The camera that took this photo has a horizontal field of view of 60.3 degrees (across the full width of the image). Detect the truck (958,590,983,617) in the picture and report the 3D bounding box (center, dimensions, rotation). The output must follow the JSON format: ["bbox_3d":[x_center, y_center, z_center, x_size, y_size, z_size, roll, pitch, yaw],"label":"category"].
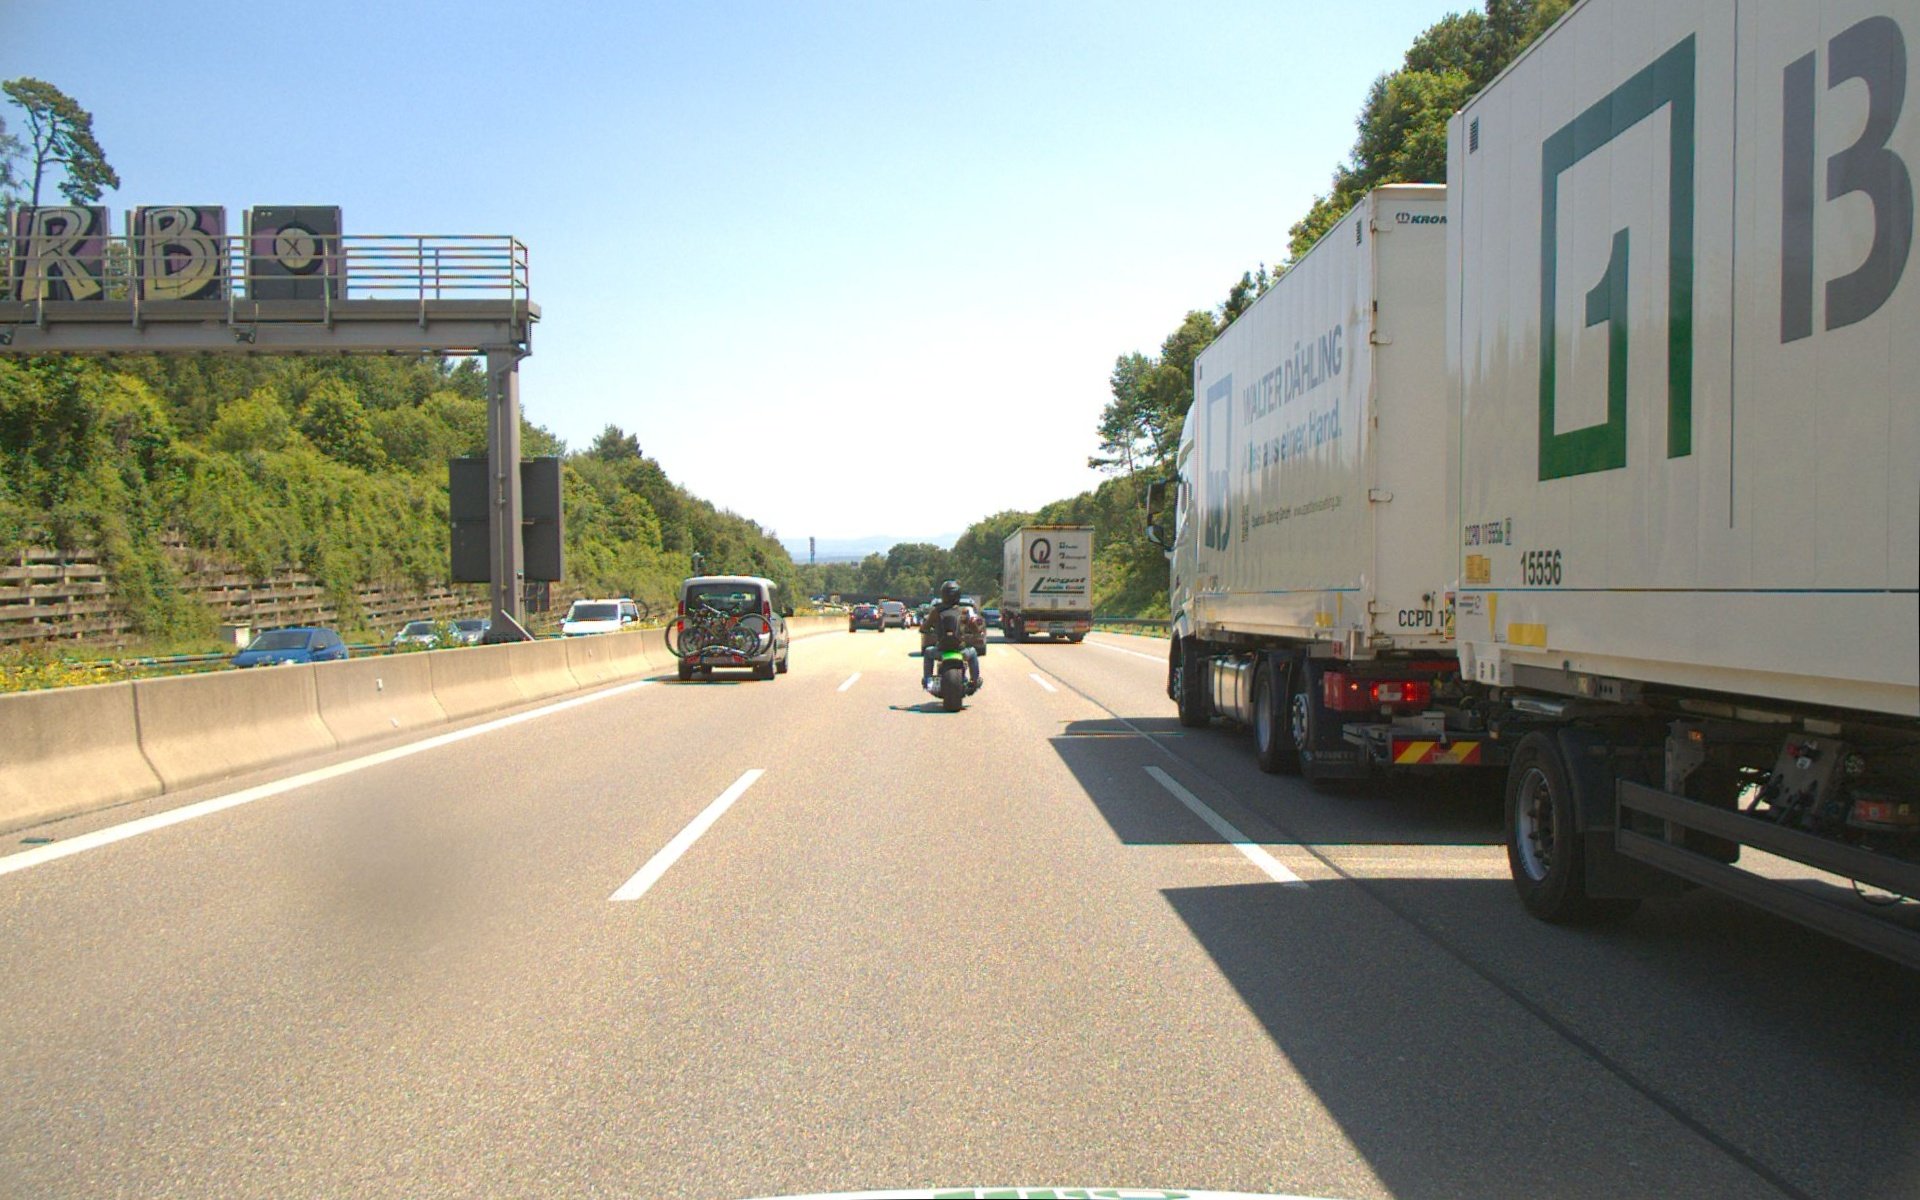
[{"bbox_3d":[1.400,0.407,219.758,3.005,3.405,9.650,1,0,-1],"label":"truck"}]

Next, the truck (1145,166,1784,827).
[{"bbox_3d":[3.774,-0.654,15.705,2.625,4.130,10.623,0,0,-1],"label":"truck"}]

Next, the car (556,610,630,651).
[{"bbox_3d":[-15.301,1.231,69.183,1.921,1.521,5.885,-2,0,-2],"label":"car"}]

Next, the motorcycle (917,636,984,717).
[{"bbox_3d":[-0.112,0.989,21.939,0.844,0.999,2.130,0,-1,0],"label":"motorcycle"}]

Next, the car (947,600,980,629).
[{"bbox_3d":[0.190,0.813,95.109,1.794,1.586,4.119,0,0,-1],"label":"car"}]

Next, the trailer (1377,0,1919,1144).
[{"bbox_3d":[4.000,-0.593,5.254,2.625,4.249,10.063,0,0,-1],"label":"trailer"}]

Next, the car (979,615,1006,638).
[{"bbox_3d":[2.363,1.892,120.394,1.794,1.553,4.026,0,0,-1],"label":"car"}]

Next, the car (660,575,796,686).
[{"bbox_3d":[-4.224,0.541,30.940,1.860,1.880,5.481,0,0,-1],"label":"car"}]

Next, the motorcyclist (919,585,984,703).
[{"bbox_3d":[-0.113,0.575,21.936,0.838,1.541,0.914,0,-1,0],"label":"motorcyclist"}]

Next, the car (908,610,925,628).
[{"bbox_3d":[-4.647,2.016,177.858,1.794,1.842,4.119,0,0,-1],"label":"car"}]

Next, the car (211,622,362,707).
[{"bbox_3d":[-14.856,1.387,36.728,1.673,1.633,4.198,-2,0,-1],"label":"car"}]

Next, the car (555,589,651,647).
[{"bbox_3d":[-11.535,0.537,53.811,1.957,1.717,5.993,-2,0,-2],"label":"car"}]

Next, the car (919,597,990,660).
[{"bbox_3d":[-0.180,0.720,44.792,1.808,1.584,4.438,0,0,-1],"label":"car"}]

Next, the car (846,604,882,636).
[{"bbox_3d":[-5.122,1.048,88.598,1.722,1.571,4.394,0,0,-1],"label":"car"}]

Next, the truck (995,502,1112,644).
[{"bbox_3d":[3.404,-0.937,65.908,3.314,4.800,17.705,1,0,-1],"label":"truck"}]

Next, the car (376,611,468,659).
[{"bbox_3d":[-19.280,1.226,59.451,1.860,1.552,4.372,-2,0,0],"label":"car"}]

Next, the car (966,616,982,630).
[{"bbox_3d":[1.620,2.686,195.788,1.794,1.553,4.026,0,0,-1],"label":"car"}]

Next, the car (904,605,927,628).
[{"bbox_3d":[-3.677,1.372,137.263,1.794,1.842,4.119,0,0,-1],"label":"car"}]

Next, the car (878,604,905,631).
[{"bbox_3d":[-4.798,1.200,116.768,1.794,1.842,4.119,0,0,-1],"label":"car"}]
